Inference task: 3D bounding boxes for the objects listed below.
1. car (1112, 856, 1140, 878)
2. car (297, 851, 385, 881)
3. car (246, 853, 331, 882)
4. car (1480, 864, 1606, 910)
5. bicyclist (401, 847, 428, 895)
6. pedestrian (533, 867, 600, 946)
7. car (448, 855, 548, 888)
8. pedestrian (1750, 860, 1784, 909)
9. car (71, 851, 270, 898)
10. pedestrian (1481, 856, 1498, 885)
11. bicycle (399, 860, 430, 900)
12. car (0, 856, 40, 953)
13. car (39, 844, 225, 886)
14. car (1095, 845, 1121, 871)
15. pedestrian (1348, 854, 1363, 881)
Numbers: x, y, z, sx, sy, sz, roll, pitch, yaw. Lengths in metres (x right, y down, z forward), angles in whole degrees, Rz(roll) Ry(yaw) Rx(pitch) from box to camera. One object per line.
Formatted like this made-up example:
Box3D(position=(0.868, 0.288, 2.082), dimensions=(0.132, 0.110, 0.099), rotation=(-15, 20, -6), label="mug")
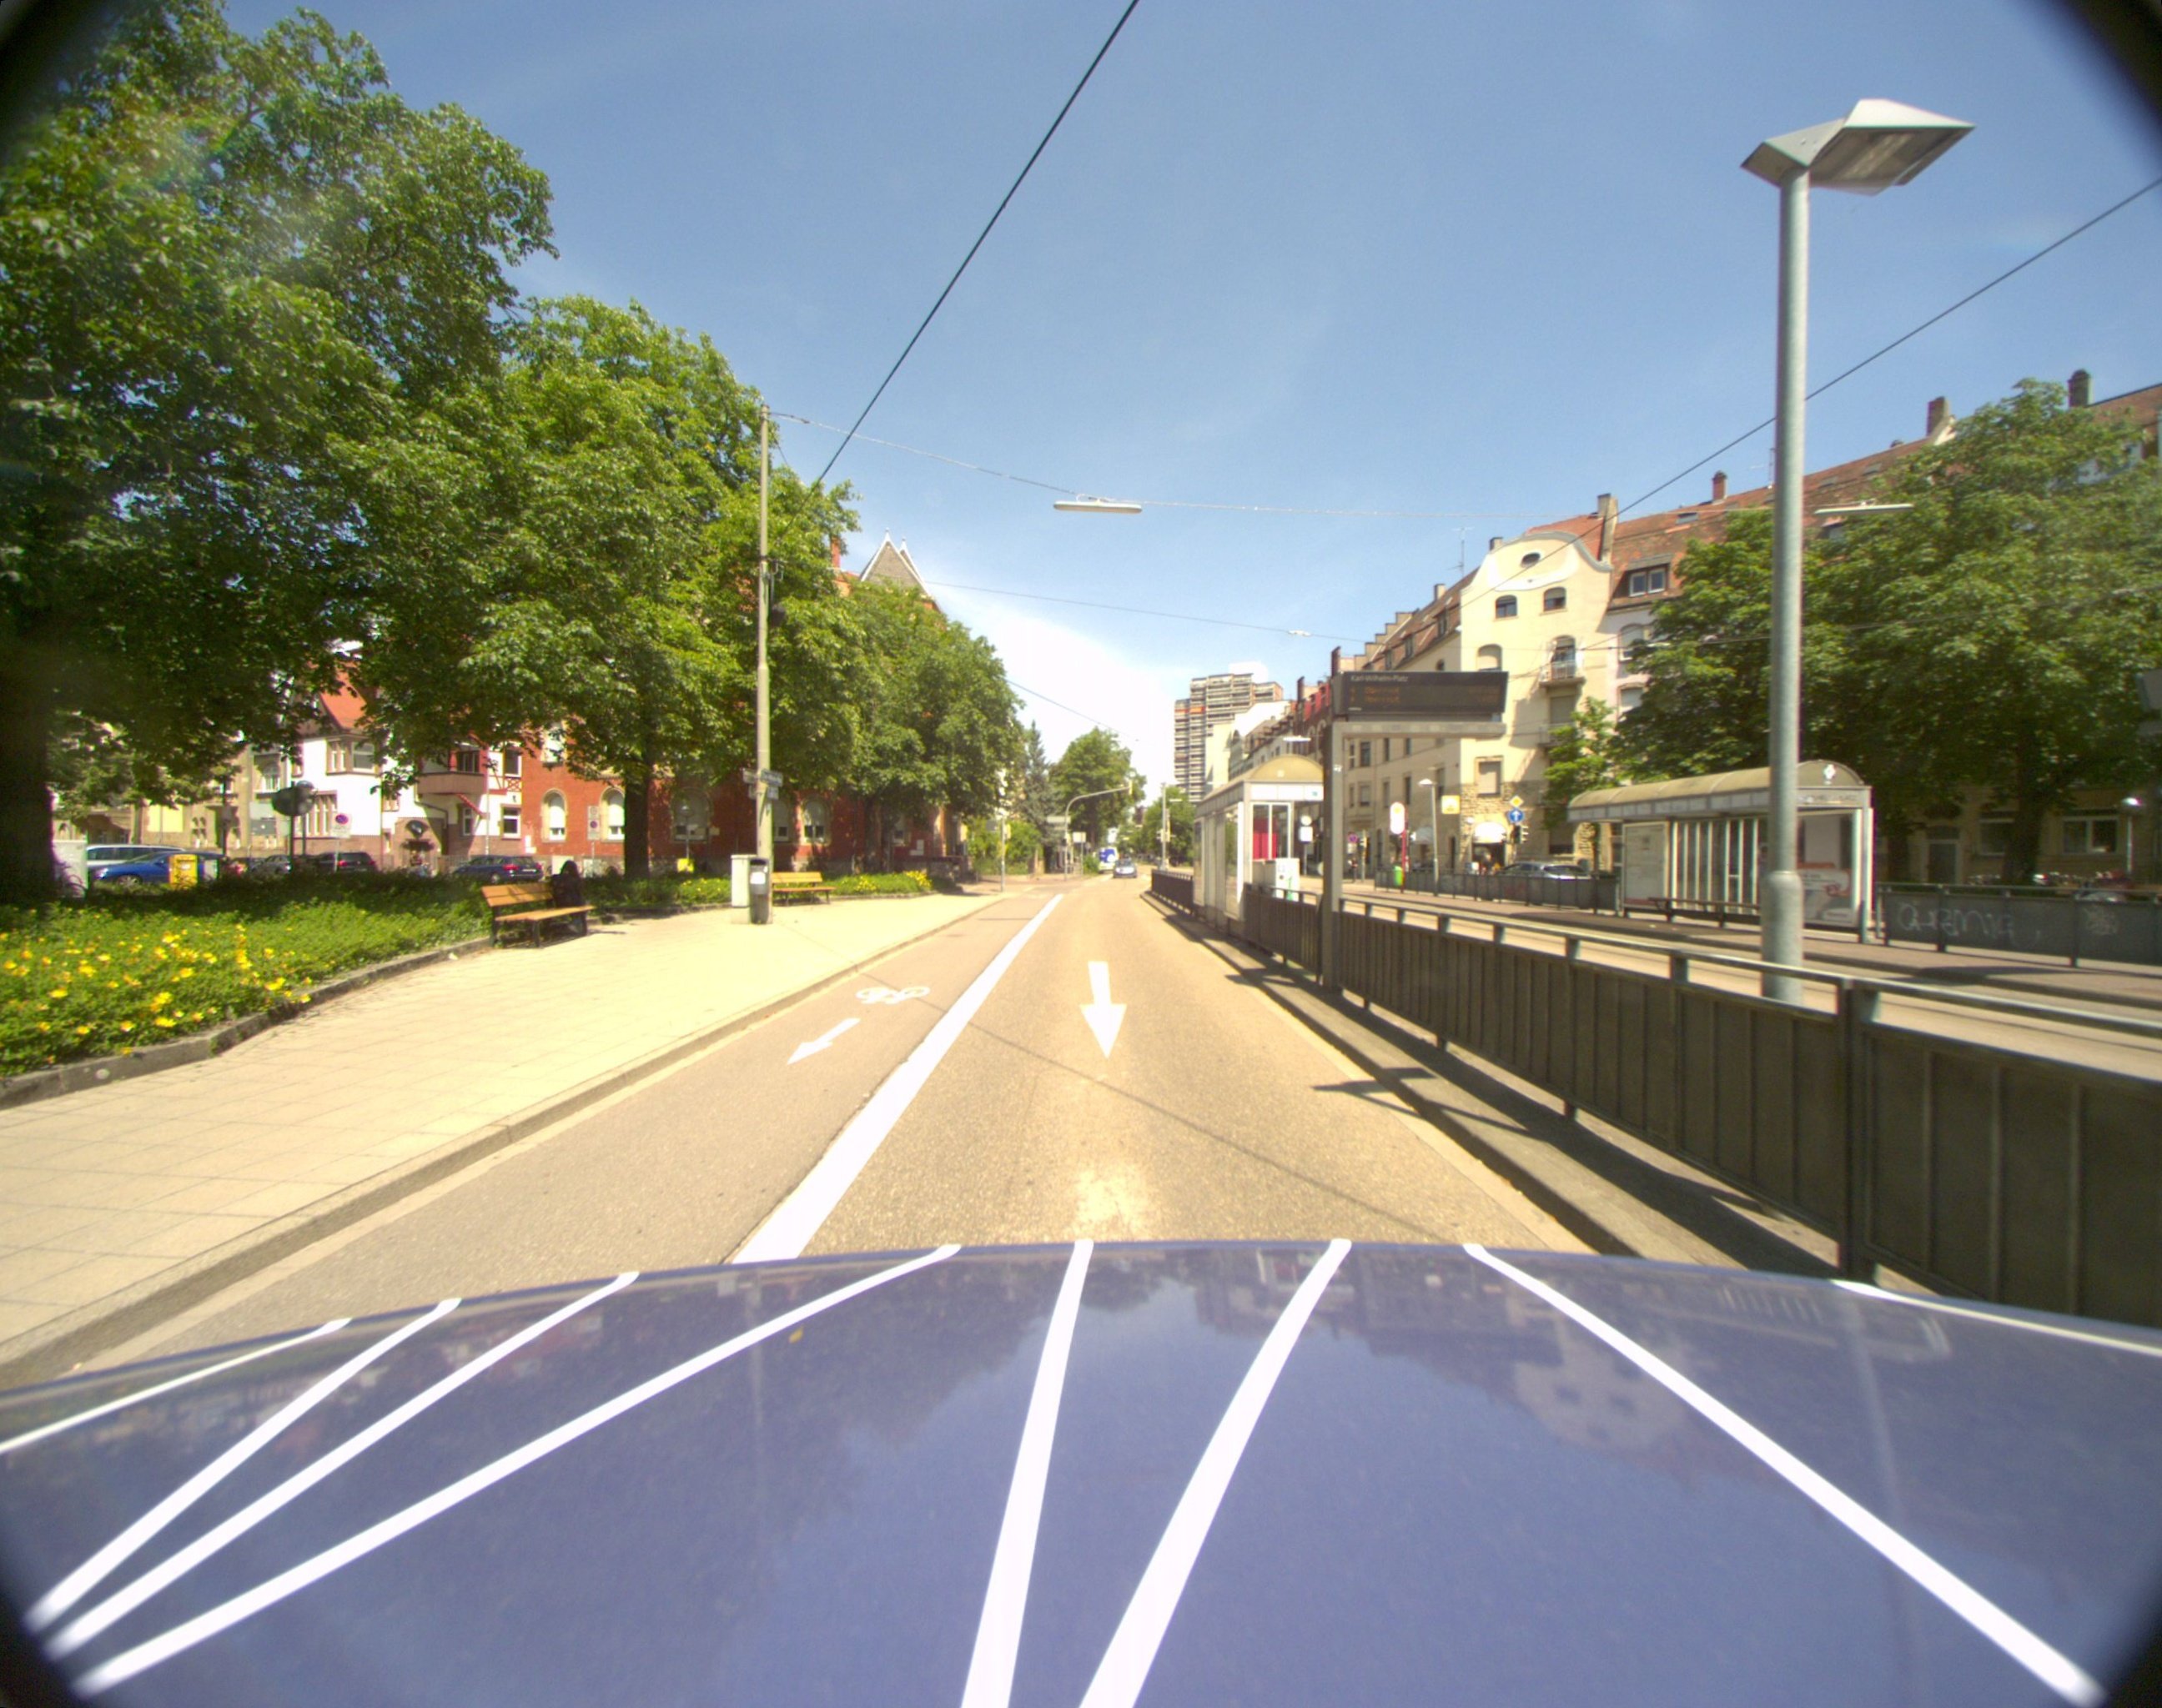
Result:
Box3D(position=(3.342, 0.943, 57.405), dimensions=(1.737, 1.543, 4.423), rotation=(1, 0, -1), label="car")
Box3D(position=(-39.991, 0.634, 41.078), dimensions=(4.235, 1.554, 1.706), rotation=(0, 0, 20), label="car")
Box3D(position=(-44.851, 0.728, 43.006), dimensions=(4.235, 1.554, 1.706), rotation=(0, 0, 20), label="car")
Box3D(position=(14.615, 0.990, 24.298), dimensions=(1.697, 1.302, 3.848), rotation=(0, 0, 0), label="car")
Box3D(position=(-22.636, 0.557, 25.806), dimensions=(0.860, 1.614, 0.641), rotation=(1, 1, 45), label="bicyclist")
Box3D(position=(-7.779, 0.782, 11.514), dimensions=(0.652, 1.143, 0.642), rotation=(0, 1, -15), label="pedestrian")
Box3D(position=(-27.557, 0.790, 35.927), dimensions=(4.309, 1.443, 1.647), rotation=(0, 0, 20), label="car")
Box3D(position=(20.664, 0.915, 22.877), dimensions=(0.537, 1.433, 0.520), rotation=(0, 1, -9), label="pedestrian")
Box3D(position=(-33.045, 0.680, 27.762), dimensions=(1.641, 1.554, 4.326), rotation=(0, 0, 21), label="car")
Box3D(position=(19.861, 0.802, 36.943), dimensions=(0.537, 1.433, 0.520), rotation=(0, 1, -8), label="pedestrian")
Box3D(position=(-22.636, 0.864, 25.799), dimensions=(1.925, 1.285, 0.641), rotation=(0, 1, 45), label="bicycle")
Box3D(position=(-17.837, 0.805, 10.486), dimensions=(1.614, 1.554, 4.064), rotation=(0, 0, -7), label="car")
Box3D(position=(-37.587, 0.401, 30.276), dimensions=(1.641, 1.554, 4.326), rotation=(0, 0, 21), label="car")
Box3D(position=(2.611, 0.331, 74.855), dimensions=(2.237, 2.478, 5.265), rotation=(1, 1, -1), label="car")
Box3D(position=(17.734, 0.888, 49.079), dimensions=(0.808, 1.710, 0.764), rotation=(0, 1, 16), label="pedestrian")
